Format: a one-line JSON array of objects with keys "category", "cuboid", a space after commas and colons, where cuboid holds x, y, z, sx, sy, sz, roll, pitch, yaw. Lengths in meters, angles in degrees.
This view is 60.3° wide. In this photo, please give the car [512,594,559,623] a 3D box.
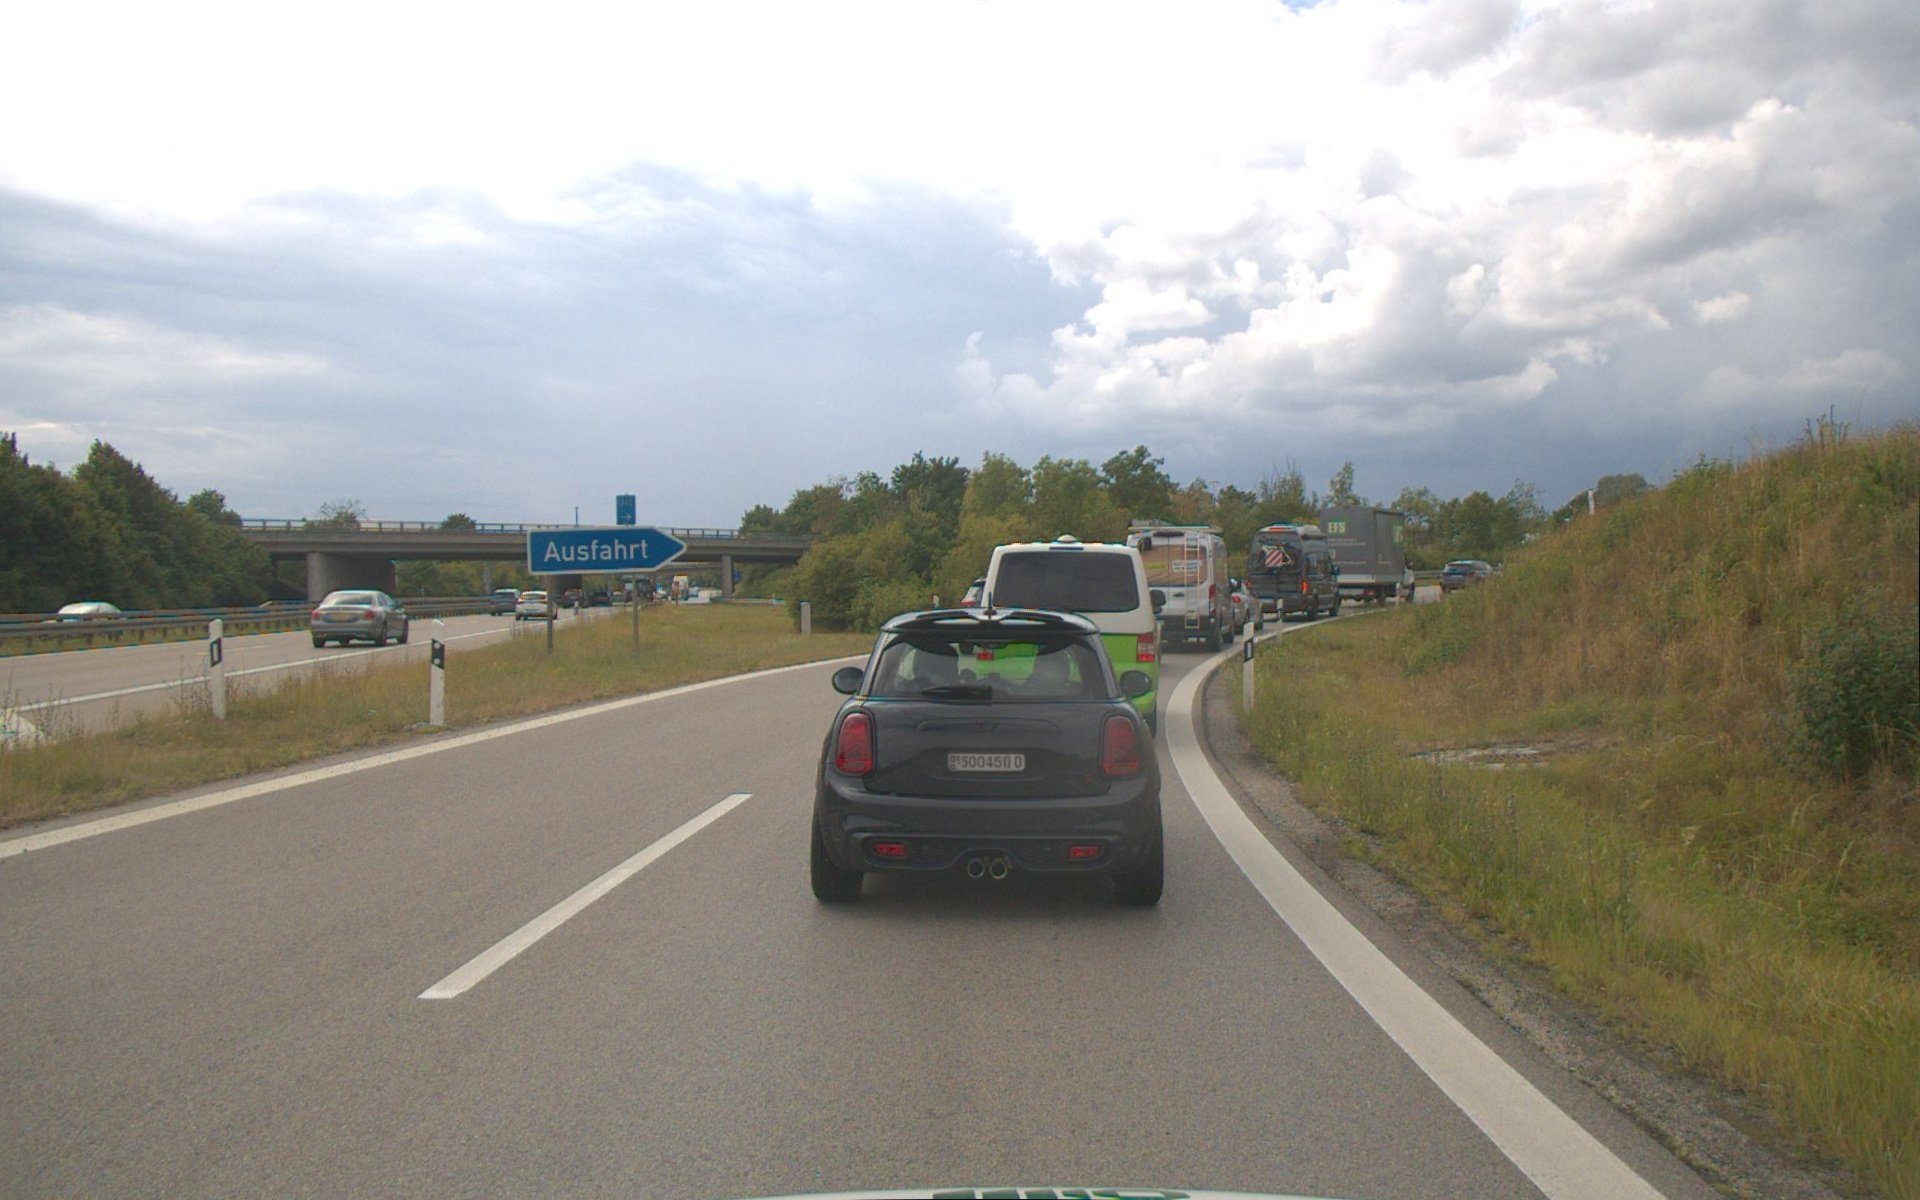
[{"category": "car", "cuboid": [-21.681, 0.397, 84.601, 1.745, 1.423, 4.024, -1, 0, -6]}]

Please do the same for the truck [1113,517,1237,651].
[{"category": "truck", "cuboid": [4.789, -0.375, 36.247, 2.132, 2.705, 5.113, 0, 1, 14]}]

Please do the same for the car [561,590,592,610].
[{"category": "car", "cuboid": [-33.494, -0.005, 144.409, 2.055, 1.700, 4.301, -1, 0, -6]}]

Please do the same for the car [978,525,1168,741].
[{"category": "car", "cuboid": [1.322, 0.290, 17.810, 1.746, 2.049, 4.003, 0, 0, 8]}]

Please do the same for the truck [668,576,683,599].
[{"category": "truck", "cuboid": [-44.427, -1.923, 258.575, 2.105, 3.569, 3.993, 1, 0, -7]}]

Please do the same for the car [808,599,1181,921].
[{"category": "car", "cuboid": [0.170, 0.726, 9.378, 1.691, 1.438, 3.725, 0, 0, 0]}]

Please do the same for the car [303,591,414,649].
[{"category": "car", "cuboid": [-15.893, 0.491, 43.922, 1.746, 1.423, 4.544, -1, 0, -7]}]

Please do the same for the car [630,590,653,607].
[{"category": "car", "cuboid": [-33.272, -0.145, 172.866, 2.055, 1.700, 4.301, -1, 0, -6]}]

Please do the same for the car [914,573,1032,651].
[{"category": "car", "cuboid": [0.340, 0.248, 35.719, 1.757, 1.583, 3.964, 0, 0, 12]}]

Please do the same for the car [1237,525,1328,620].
[{"category": "car", "cuboid": [10.154, -0.867, 51.904, 2.062, 2.845, 4.000, 1, 1, 22]}]

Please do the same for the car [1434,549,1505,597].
[{"category": "car", "cuboid": [22.984, -1.186, 74.541, 1.959, 2.049, 3.987, 0, -1, 34]}]

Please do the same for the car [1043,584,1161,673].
[{"category": "car", "cuboid": [2.486, 0.445, 28.219, 1.724, 1.423, 3.728, -1, 0, 9]}]

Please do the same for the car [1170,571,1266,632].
[{"category": "car", "cuboid": [6.917, 0.033, 44.056, 1.827, 1.536, 4.001, 0, 0, 19]}]

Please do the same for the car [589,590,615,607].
[{"category": "car", "cuboid": [-36.734, -0.131, 169.741, 2.118, 1.700, 4.301, -1, 0, -6]}]

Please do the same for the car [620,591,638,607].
[{"category": "car", "cuboid": [-42.378, -0.115, 211.944, 2.031, 2.049, 3.991, 1, 0, -9]}]

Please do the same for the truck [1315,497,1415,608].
[{"category": "truck", "cuboid": [15.591, -1.729, 63.444, 2.186, 3.975, 6.006, 0, -1, 29]}]

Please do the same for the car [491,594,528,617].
[{"category": "car", "cuboid": [-28.167, 0.318, 103.493, 1.747, 1.423, 4.297, -1, 0, -9]}]
